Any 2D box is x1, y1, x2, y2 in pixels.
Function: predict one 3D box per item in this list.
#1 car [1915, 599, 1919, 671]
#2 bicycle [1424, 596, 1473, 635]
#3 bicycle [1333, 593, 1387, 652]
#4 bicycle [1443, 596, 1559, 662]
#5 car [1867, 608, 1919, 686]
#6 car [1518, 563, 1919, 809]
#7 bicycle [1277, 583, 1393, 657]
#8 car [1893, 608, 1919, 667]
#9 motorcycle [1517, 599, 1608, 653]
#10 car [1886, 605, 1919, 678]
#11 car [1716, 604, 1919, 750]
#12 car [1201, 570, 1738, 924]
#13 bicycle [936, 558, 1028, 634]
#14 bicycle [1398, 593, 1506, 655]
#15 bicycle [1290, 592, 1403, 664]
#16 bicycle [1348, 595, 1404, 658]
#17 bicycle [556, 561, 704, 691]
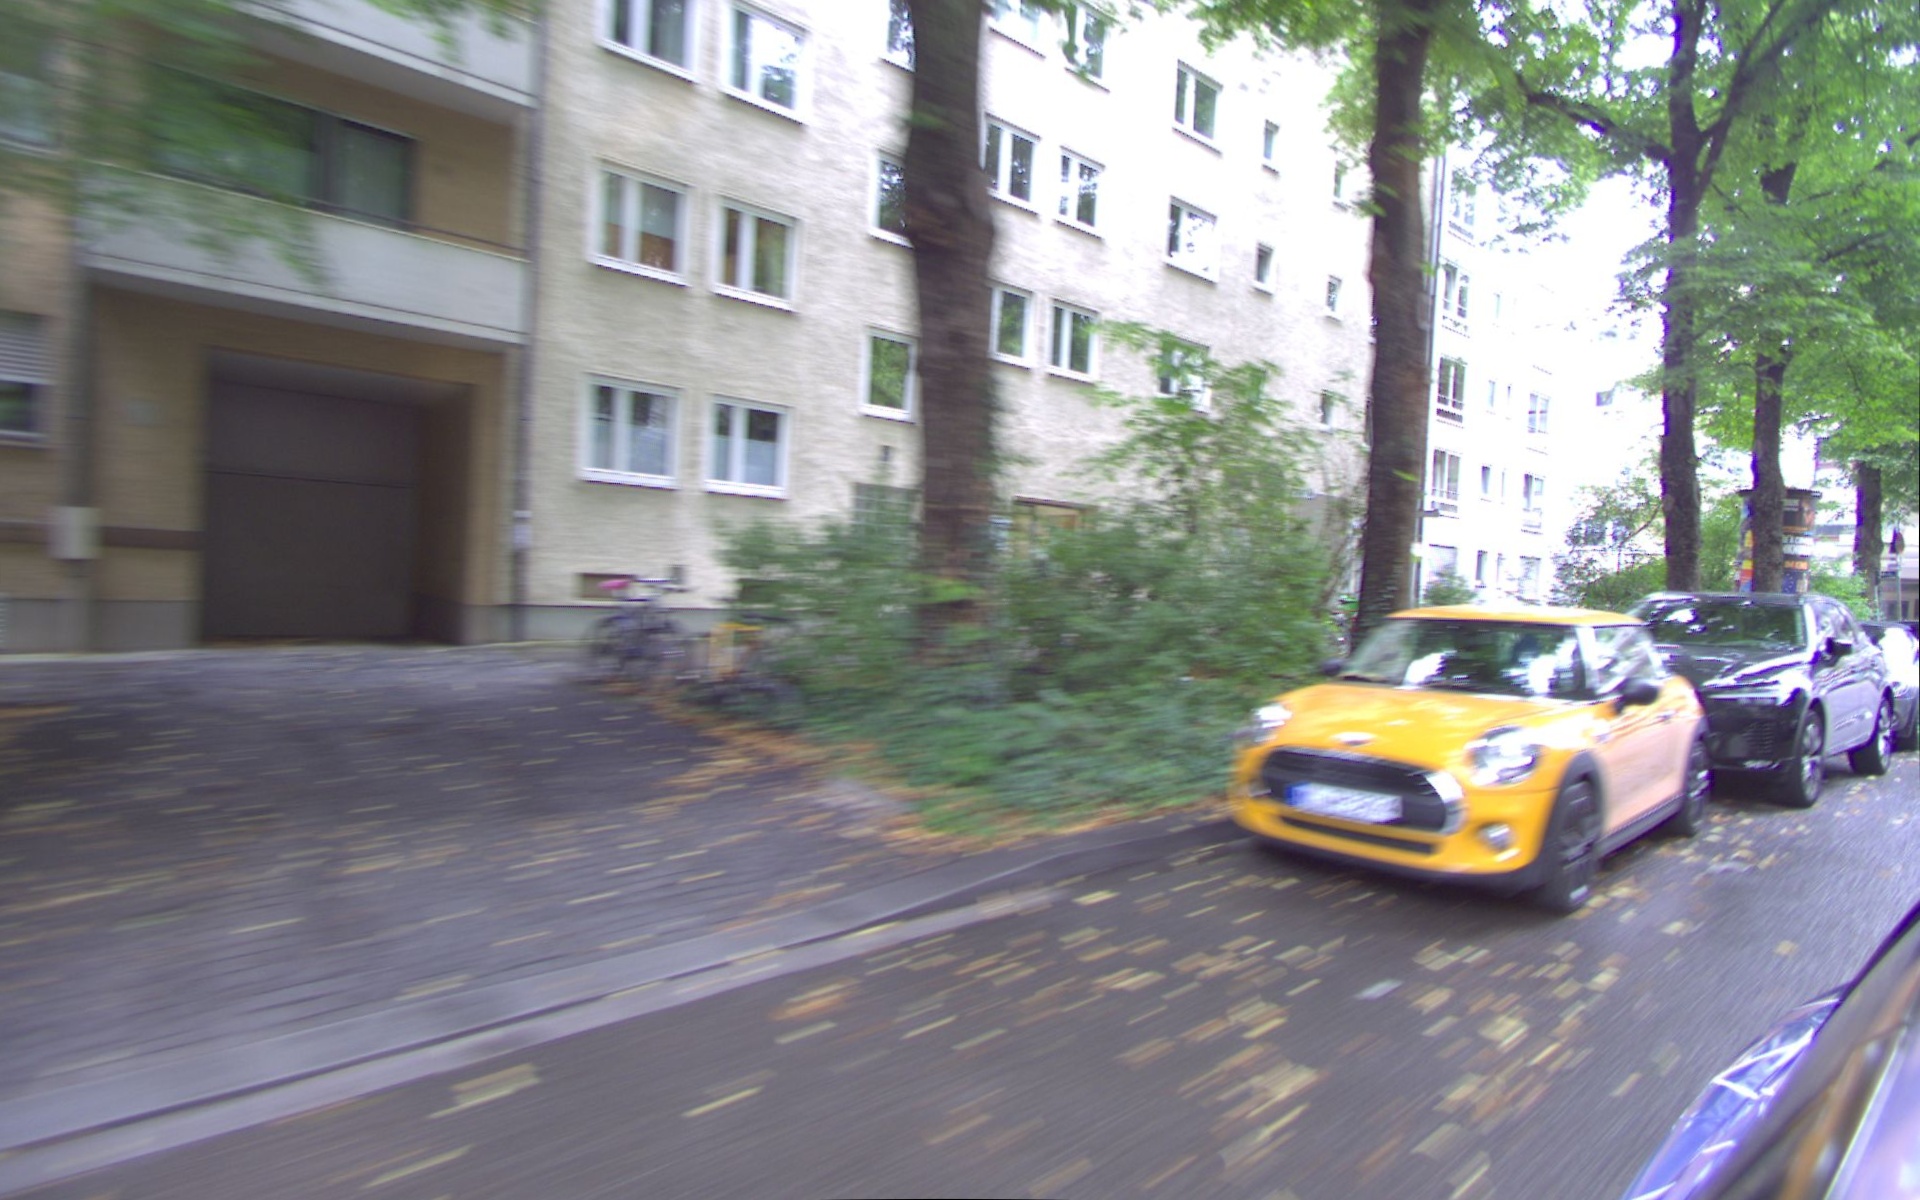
[{"bbox_3d":[23.095,0.892,21.386,1.724,1.574,3.983,1,2,-38],"label":"car"},{"bbox_3d":[13.927,0.427,28.830,1.671,1.035,0.539,1,5,-40],"label":"bicycle"},{"bbox_3d":[8.164,0.454,20.624,0.444,1.138,1.745,3,1,40],"label":"bicycle"},{"bbox_3d":[10.423,0.541,19.531,1.868,1.138,0.532,3,1,40],"label":"bicycle"},{"bbox_3d":[19.374,0.971,18.340,1.702,1.411,4.095,1,2,-37],"label":"car"},{"bbox_3d":[6.937,0.603,9.040,4.443,1.649,1.836,1,2,-39],"label":"car"},{"bbox_3d":[6.243,0.322,16.925,1.746,1.138,0.443,3,1,16],"label":"bicycle"},{"bbox_3d":[24.893,1.022,23.392,1.926,1.394,4.726,1,2,-42],"label":"car"},{"bbox_3d":[15.079,0.635,25.359,1.802,1.212,0.680,4,2,45],"label":"motorcycle"},{"bbox_3d":[21.158,0.948,20.071,1.795,1.465,3.942,1,3,-42],"label":"car"},{"bbox_3d":[11.407,0.836,12.828,4.350,1.430,1.904,1,3,-40],"label":"car"},{"bbox_3d":[3.219,0.620,6.055,3.715,1.430,1.621,1,2,-42],"label":"car"},{"bbox_3d":[0.390,-0.065,17.411,1.646,1.239,0.450,1,2,-40],"label":"bicycle"},{"bbox_3d":[10.046,0.476,20.708,1.868,1.138,0.532,3,1,40],"label":"bicycle"},{"bbox_3d":[6.715,0.467,17.639,1.746,1.138,0.443,3,1,16],"label":"bicycle"},{"bbox_3d":[8.037,0.495,19.502,0.444,1.138,1.745,3,1,40],"label":"bicycle"},{"bbox_3d":[-3.232,0.212,9.815,1.830,1.097,0.538,4,2,44],"label":"bicycle"}]
